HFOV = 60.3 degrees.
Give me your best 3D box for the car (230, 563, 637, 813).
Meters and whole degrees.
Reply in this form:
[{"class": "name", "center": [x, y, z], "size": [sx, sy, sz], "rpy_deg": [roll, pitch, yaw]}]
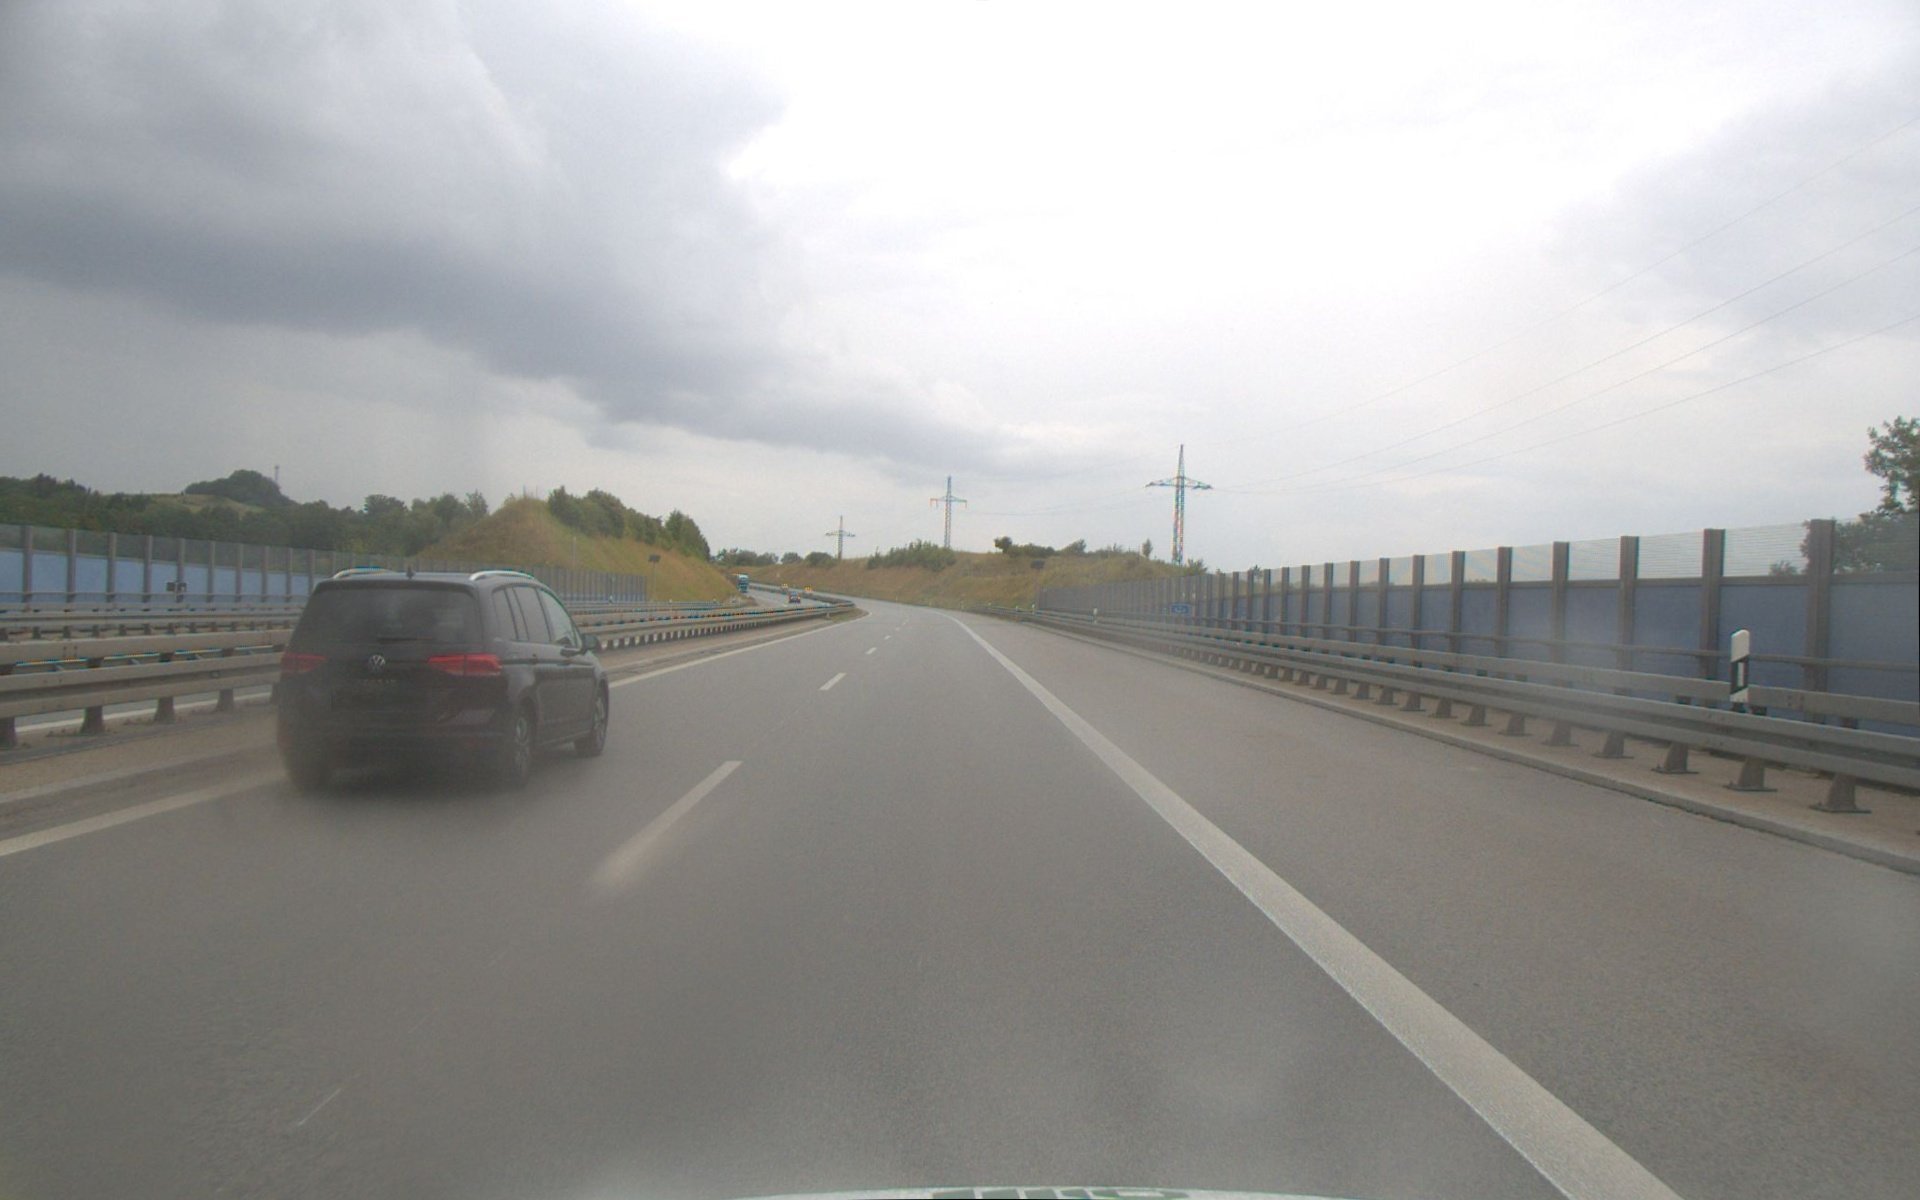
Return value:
[{"class": "car", "center": [-4.161, 0.594, 14.131], "size": [1.858, 1.700, 5.395], "rpy_deg": [1, 0, -2]}]
